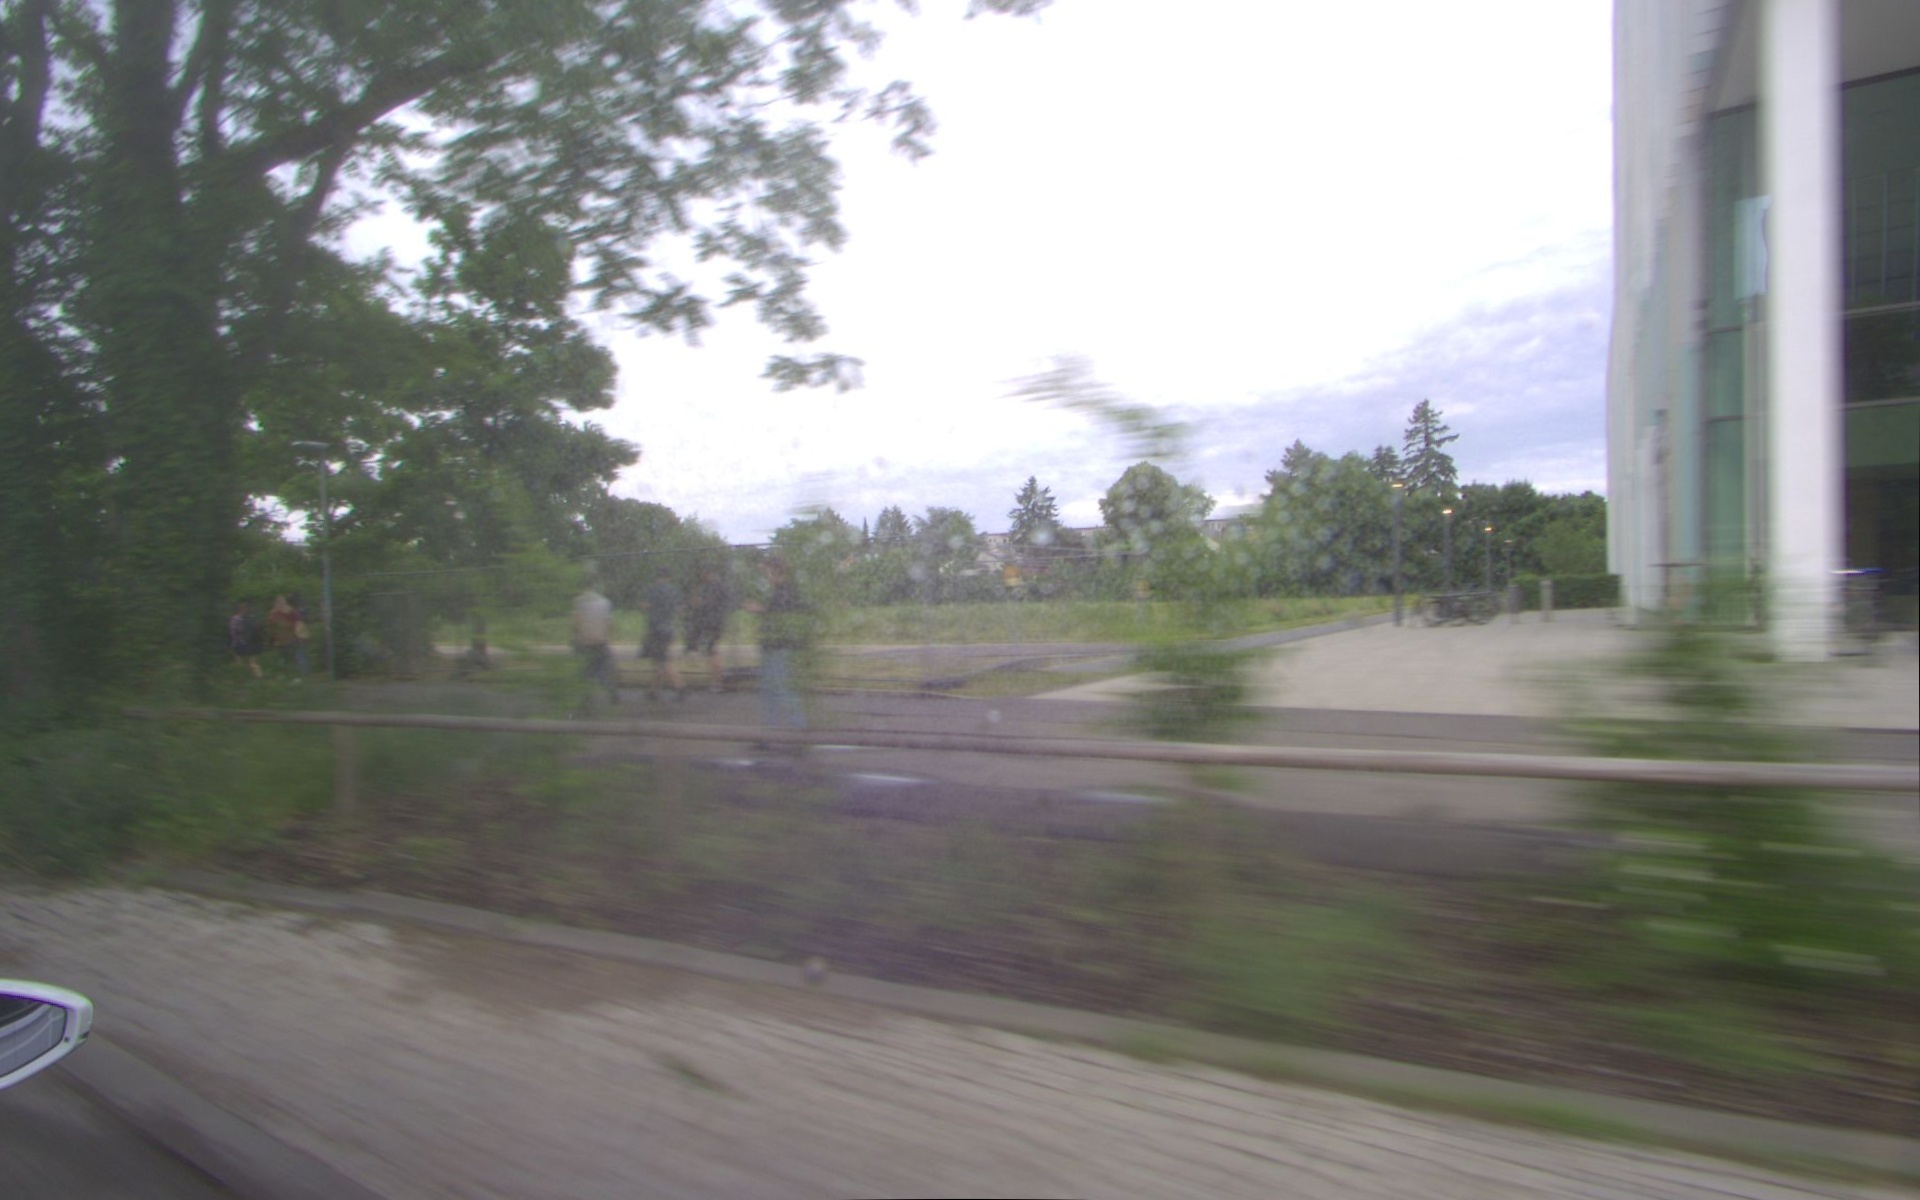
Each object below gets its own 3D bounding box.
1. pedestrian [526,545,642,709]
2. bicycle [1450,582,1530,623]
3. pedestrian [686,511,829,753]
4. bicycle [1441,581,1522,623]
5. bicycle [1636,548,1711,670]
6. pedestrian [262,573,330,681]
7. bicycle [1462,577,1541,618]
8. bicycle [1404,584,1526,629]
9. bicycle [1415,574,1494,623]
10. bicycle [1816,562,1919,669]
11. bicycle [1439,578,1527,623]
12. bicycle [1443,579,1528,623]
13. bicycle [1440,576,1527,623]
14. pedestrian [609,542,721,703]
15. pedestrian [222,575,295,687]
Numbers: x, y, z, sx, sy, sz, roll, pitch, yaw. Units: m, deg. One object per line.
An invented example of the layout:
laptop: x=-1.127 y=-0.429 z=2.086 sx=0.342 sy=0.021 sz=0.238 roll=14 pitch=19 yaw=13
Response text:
pedestrian: x=-4.906 y=0.343 z=13.095 sx=1.024 sy=2.041 sz=0.924 roll=-1 pitch=1 yaw=28
bicycle: x=18.986 y=0.108 z=35.900 sx=2.440 sy=1.413 sz=0.811 roll=-1 pitch=1 yaw=37
pedestrian: x=-1.810 y=0.272 z=9.019 sx=0.880 sy=2.041 sz=0.842 roll=-1 pitch=1 yaw=27
bicycle: x=18.343 y=0.093 z=35.252 sx=2.440 sy=1.413 sz=0.811 roll=-1 pitch=1 yaw=37
bicycle: x=8.664 y=0.080 z=12.131 sx=1.636 sy=1.352 sz=0.458 roll=-5 pitch=3 yaw=-45
pedestrian: x=-12.846 y=0.513 z=19.380 sx=0.710 sy=2.041 sz=0.822 roll=-1 pitch=2 yaw=32
bicycle: x=19.732 y=-0.079 z=36.494 sx=2.440 sy=1.413 sz=0.876 roll=-1 pitch=1 yaw=37
bicycle: x=13.276 y=0.181 z=26.375 sx=2.756 sy=1.145 sz=1.026 roll=-1 pitch=1 yaw=37
bicycle: x=14.761 y=-0.040 z=29.898 sx=2.018 sy=1.413 sz=0.665 roll=-1 pitch=1 yaw=37
bicycle: x=10.362 y=0.139 z=11.416 sx=0.617 sy=1.097 sz=1.790 roll=-1 pitch=3 yaw=31
bicycle: x=17.065 y=0.031 z=32.679 sx=2.440 sy=1.413 sz=0.811 roll=-1 pitch=1 yaw=37
bicycle: x=17.658 y=0.055 z=33.688 sx=2.440 sy=1.413 sz=0.811 roll=-1 pitch=1 yaw=37
bicycle: x=16.322 y=-0.005 z=31.246 sx=2.318 sy=1.413 sz=0.668 roll=-1 pitch=1 yaw=37
pedestrian: x=-3.928 y=0.287 z=13.361 sx=1.024 sy=2.041 sz=0.924 roll=-1 pitch=1 yaw=28
pedestrian: x=-13.125 y=0.567 z=18.741 sx=0.710 sy=2.041 sz=0.822 roll=-1 pitch=2 yaw=32
